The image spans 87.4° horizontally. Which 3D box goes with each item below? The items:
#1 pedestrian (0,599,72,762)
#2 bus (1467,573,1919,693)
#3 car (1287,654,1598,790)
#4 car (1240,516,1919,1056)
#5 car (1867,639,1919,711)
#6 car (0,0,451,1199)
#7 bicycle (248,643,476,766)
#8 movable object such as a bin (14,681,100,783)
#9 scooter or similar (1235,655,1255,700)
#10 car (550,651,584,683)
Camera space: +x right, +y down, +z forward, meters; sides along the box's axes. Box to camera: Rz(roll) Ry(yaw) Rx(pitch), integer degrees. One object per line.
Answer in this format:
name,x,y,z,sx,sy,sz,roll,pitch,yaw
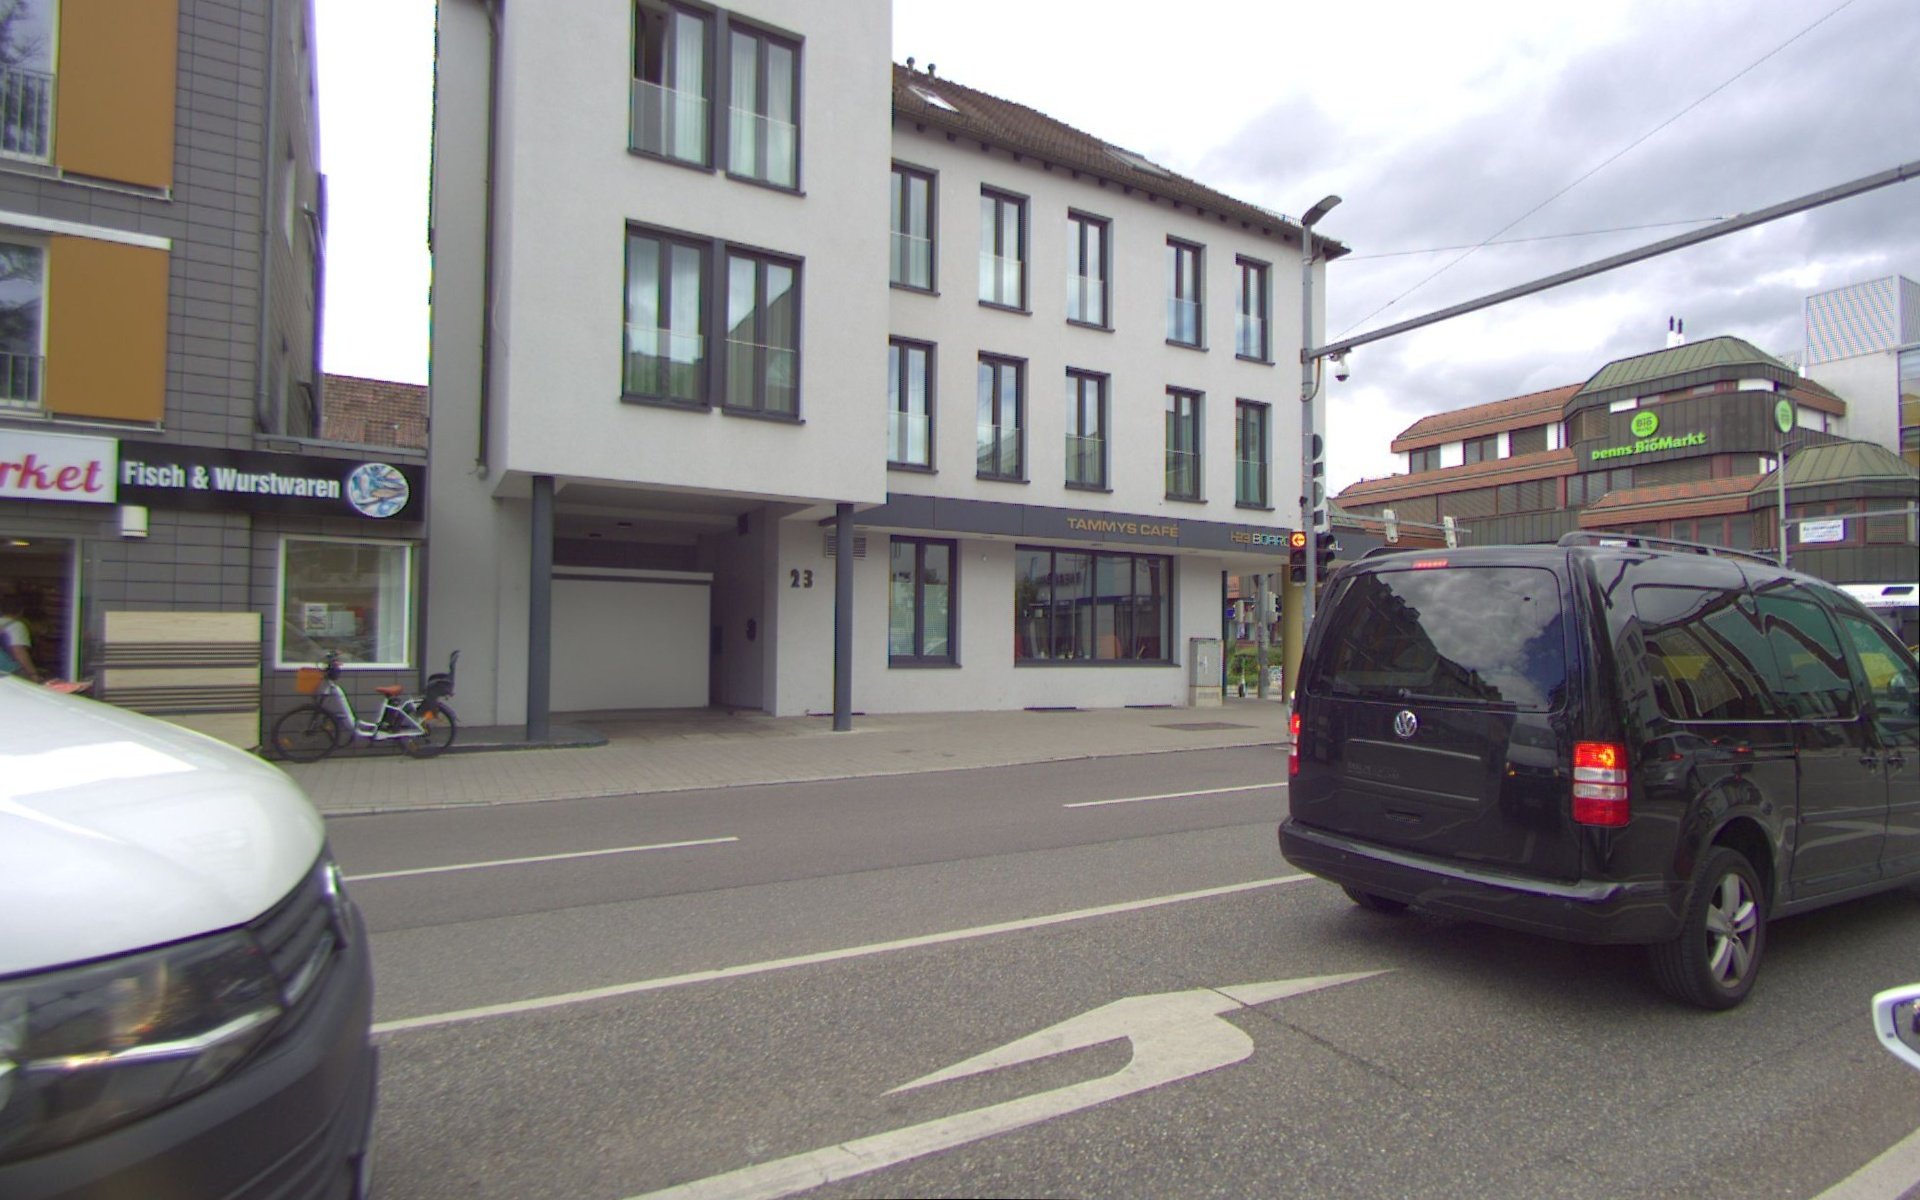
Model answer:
pedestrian,-10.131,0.826,10.581,0.960,1.665,0.883,1,-2,-30
bus,23.255,1.161,32.146,12.057,3.370,3.000,-2,-4,12
car,6.485,1.512,13.453,3.953,1.505,1.860,1,-2,-30
car,3.749,0.681,5.316,4.518,1.845,1.699,1,0,-30
car,21.386,1.574,21.573,3.772,1.478,1.736,1,-3,-30
car,-3.218,0.326,0.957,4.782,2.040,1.984,1,-1,-30
bicycle,-6.558,1.110,11.126,2.095,1.248,0.579,1,-2,-31
movable object such as a bin,-8.742,1.257,9.744,0.501,0.911,0.548,1,-1,-31
scooter or similar,7.752,2.120,27.307,0.418,1.173,1.575,0,-5,19
car,-20.758,3.512,52.978,1.499,1.458,3.554,1,-1,-24
